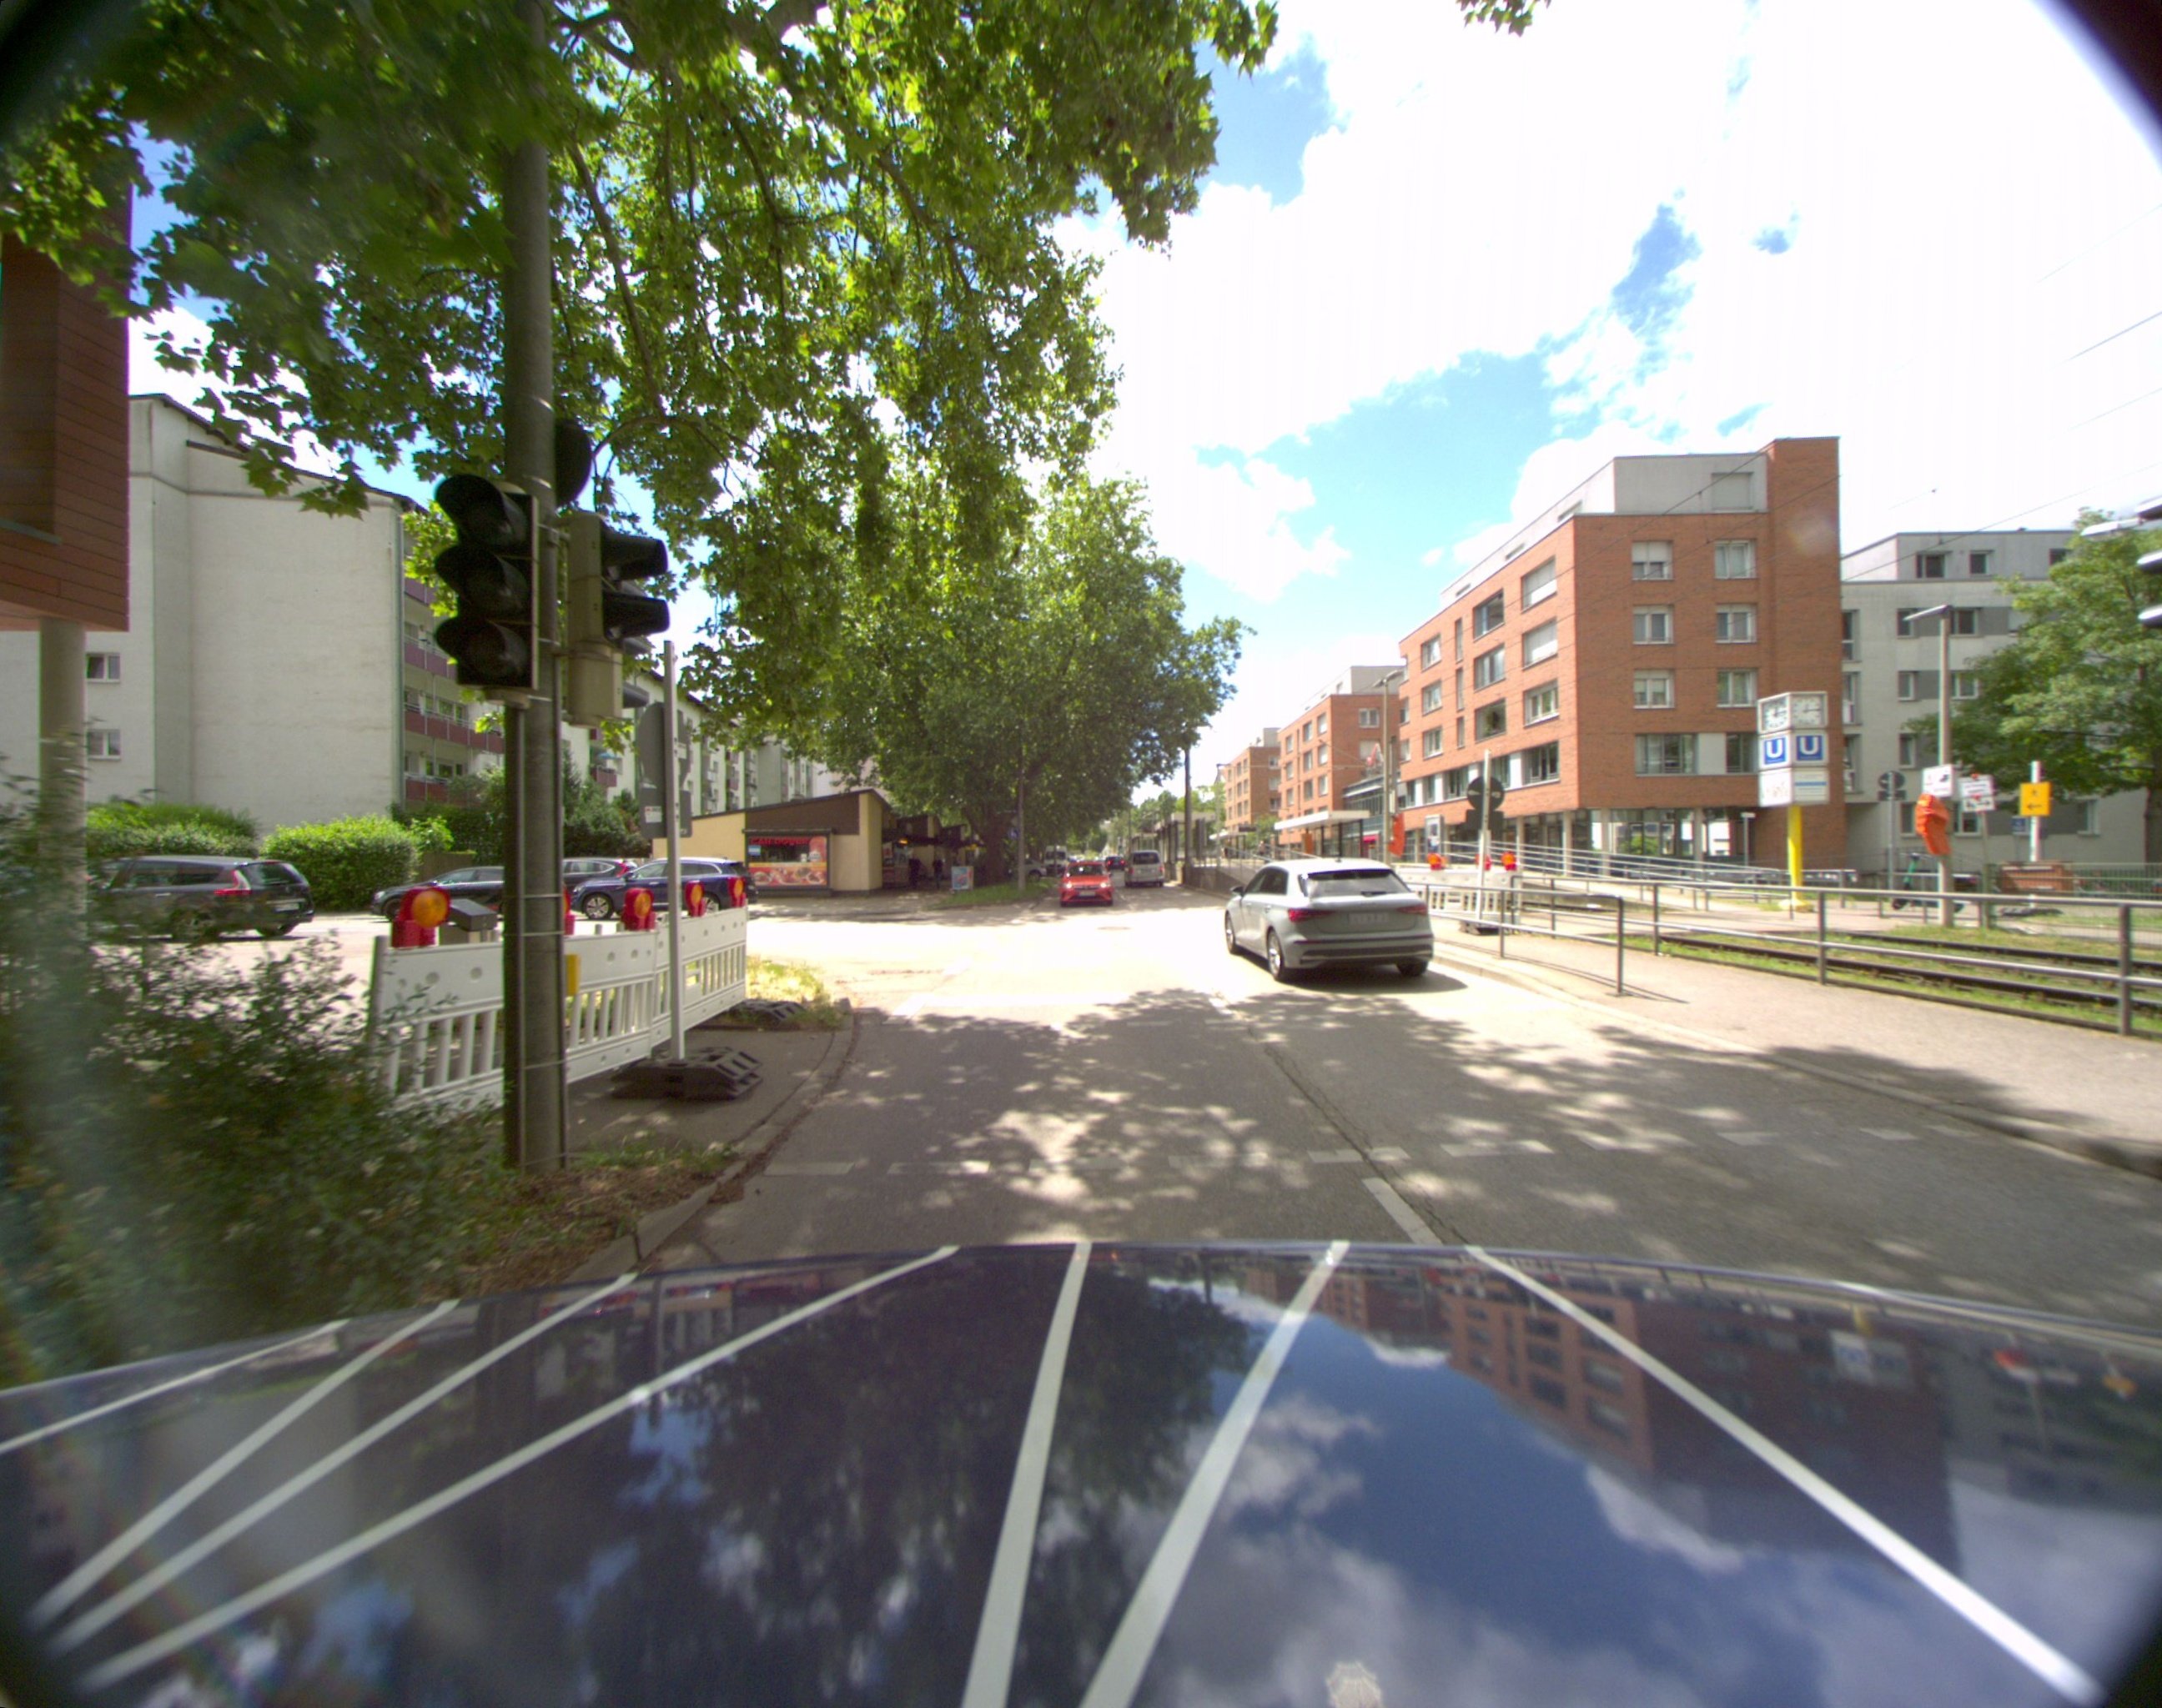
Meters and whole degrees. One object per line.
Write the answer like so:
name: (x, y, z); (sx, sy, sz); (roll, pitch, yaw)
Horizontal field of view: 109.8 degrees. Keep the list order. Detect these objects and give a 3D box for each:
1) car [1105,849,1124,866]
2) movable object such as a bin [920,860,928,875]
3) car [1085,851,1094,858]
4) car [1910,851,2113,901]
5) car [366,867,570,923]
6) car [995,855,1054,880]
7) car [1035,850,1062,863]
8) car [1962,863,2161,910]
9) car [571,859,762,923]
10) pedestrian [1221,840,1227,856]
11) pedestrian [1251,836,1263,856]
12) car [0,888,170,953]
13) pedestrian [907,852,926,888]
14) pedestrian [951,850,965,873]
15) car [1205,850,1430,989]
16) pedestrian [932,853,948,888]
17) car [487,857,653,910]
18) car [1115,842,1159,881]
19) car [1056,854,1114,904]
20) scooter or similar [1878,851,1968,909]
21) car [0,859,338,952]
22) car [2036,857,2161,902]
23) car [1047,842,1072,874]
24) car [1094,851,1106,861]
car: (3.389, 0.313, 77.813); (1.758, 1.624, 4.118); (-2, 0, 0)
movable object such as a bin: (-9.653, 0.820, 46.633); (0.438, 0.909, 0.587); (0, 1, -9)
car: (1.765, 0.097, 158.941); (1.767, 1.472, 3.753); (-3, 0, 0)
car: (30.610, 0.671, 25.223); (1.899, 1.543, 4.001); (0, 0, 2)
car: (-16.186, 1.057, 20.220); (4.000, 1.435, 1.525); (0, -1, -8)
car: (-3.804, 0.891, 50.541); (3.841, 1.553, 1.619); (0, 1, -6)
car: (-4.312, 0.303, 100.179); (3.417, 1.506, 1.609); (2, 0, -4)
car: (32.815, 1.037, 25.571); (1.847, 1.418, 4.001); (0, 0, 4)
car: (-11.305, 0.975, 21.029); (4.192, 1.672, 2.012); (0, 0, -8)
pedestrian: (15.288, -0.659, 81.367); (0.535, 1.753, 0.528); (0, 1, -3)
pedestrian: (14.731, -0.685, 63.489); (0.753, 1.619, 0.815); (-2, 1, 0)
car: (-25.857, 1.625, 18.725); (4.123, 1.445, 1.874); (0, 0, -9)
pedestrian: (-7.891, 0.763, 36.482); (0.761, 1.715, 0.658); (1, 1, -4)
pedestrian: (-9.555, 0.595, 58.998); (0.923, 1.791, 0.607); (2, 2, 45)
car: (2.815, 0.696, 9.944); (1.640, 1.426, 3.851); (-1, 0, -1)
pedestrian: (-6.826, 0.787, 36.810); (0.625, 1.666, 0.772); (0, 1, 1)
car: (-16.599, 0.917, 24.878); (4.105, 1.645, 1.809); (0, 0, -8)
car: (2.826, 0.367, 39.130); (1.758, 1.829, 4.645); (-1, 0, -1)
car: (0.141, 0.785, 25.612); (1.712, 1.439, 3.670); (-4, 0, 0)
scooter or similar: (18.280, 0.556, 16.511); (1.299, 1.246, 0.466); (0, 0, 10)
car: (-17.297, 0.910, 14.433); (4.243, 1.595, 1.891); (0, 0, -8)
car: (35.357, 0.803, 25.446); (1.847, 1.418, 4.001); (0, 0, 4)
car: (-1.802, 0.318, 66.087); (1.909, 2.566, 6.833); (1, 0, 0)
car: (3.092, 0.301, 122.323); (1.767, 1.472, 4.576); (-3, 0, 0)
